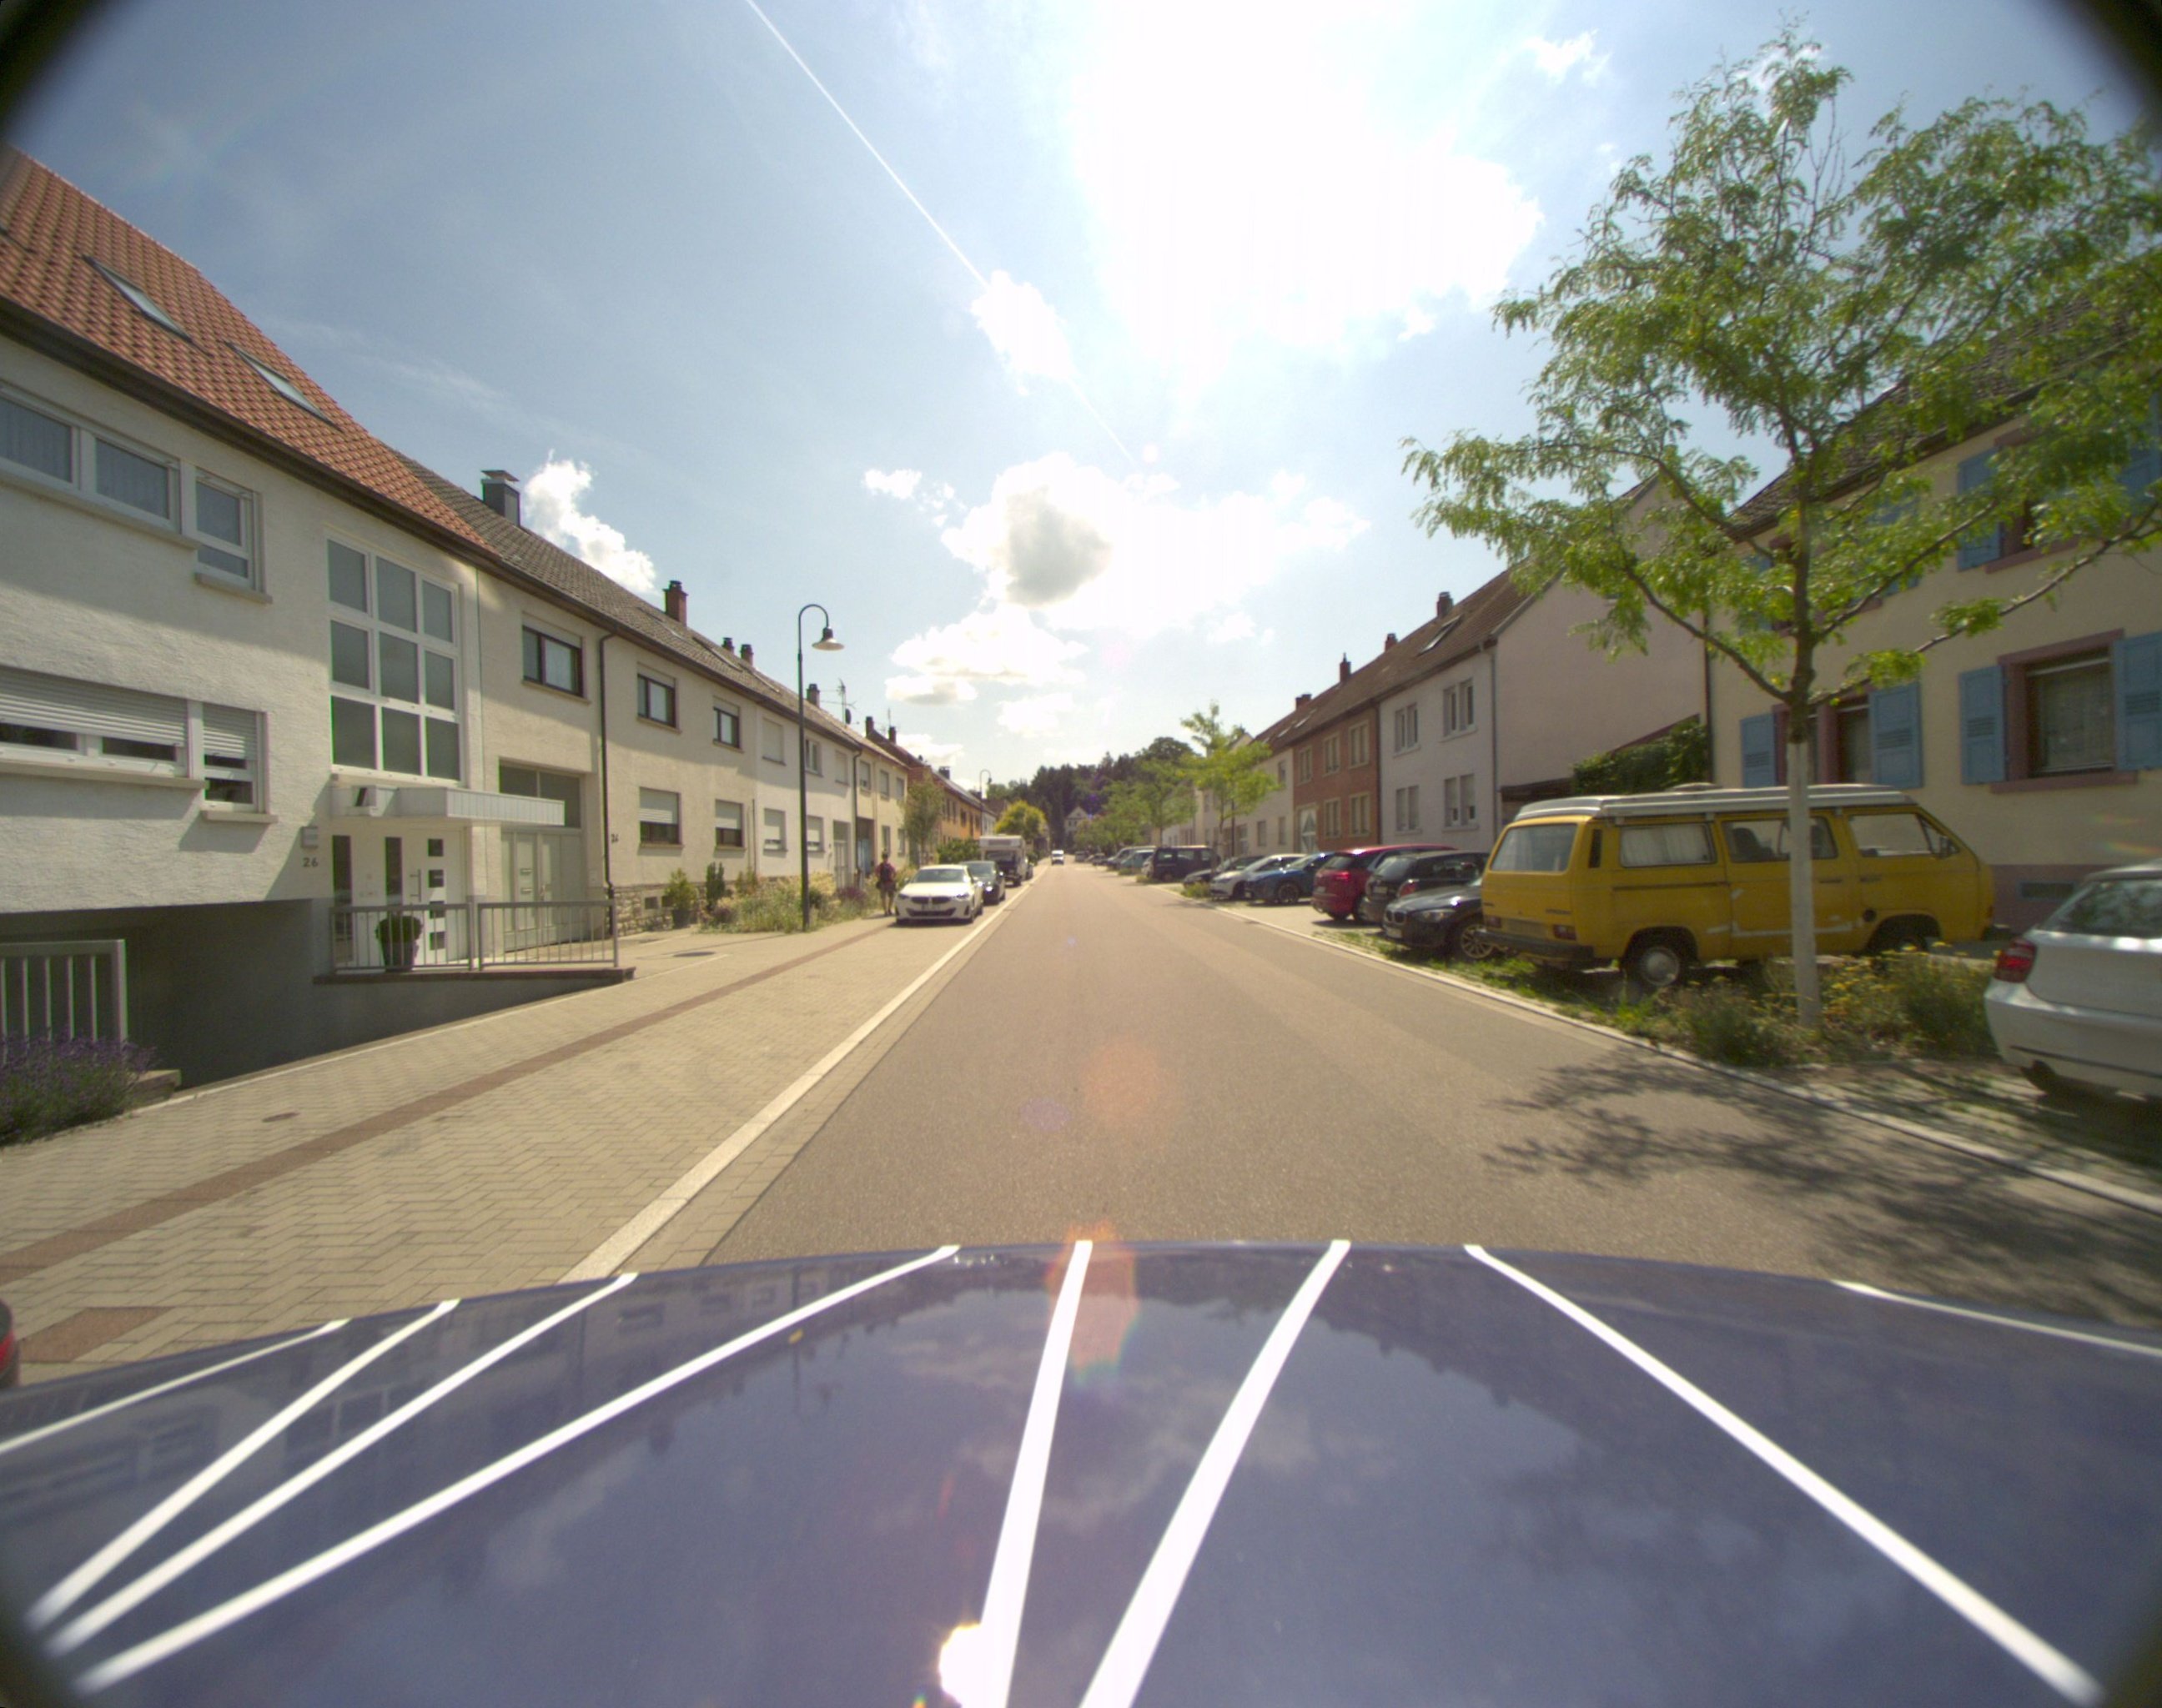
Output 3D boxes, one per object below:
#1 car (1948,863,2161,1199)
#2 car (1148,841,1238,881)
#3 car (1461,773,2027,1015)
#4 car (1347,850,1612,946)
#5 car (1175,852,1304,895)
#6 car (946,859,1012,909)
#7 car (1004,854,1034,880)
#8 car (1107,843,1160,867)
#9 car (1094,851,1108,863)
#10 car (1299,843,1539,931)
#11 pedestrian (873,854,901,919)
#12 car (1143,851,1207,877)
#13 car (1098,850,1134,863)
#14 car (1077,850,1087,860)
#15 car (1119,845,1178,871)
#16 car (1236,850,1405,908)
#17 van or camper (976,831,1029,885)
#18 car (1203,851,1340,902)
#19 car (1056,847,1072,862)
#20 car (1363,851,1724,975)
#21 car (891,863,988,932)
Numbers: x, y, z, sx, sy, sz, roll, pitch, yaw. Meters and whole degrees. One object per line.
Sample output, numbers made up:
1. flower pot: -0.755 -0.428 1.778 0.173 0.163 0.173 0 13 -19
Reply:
1. car: 6.936 0.761 3.648 4.085 1.459 1.752 -2 1 -9
2. car: 6.081 0.368 41.759 4.624 1.985 1.953 -2 1 1
3. car: 6.931 0.380 8.326 4.520 2.164 1.925 -2 1 -1
4. car: 6.969 0.724 13.529 3.802 1.451 1.754 -2 1 -4
5. car: 6.072 0.721 29.438 4.536 1.417 1.795 -2 0 -1
6. car: -3.470 0.990 26.546 1.771 1.520 4.006 -1 0 -1
7. car: -4.205 0.845 52.136 1.771 1.695 4.324 -1 0 -1
8. car: 5.416 0.109 79.278 5.181 2.275 2.156 -3 1 -3
9. car: 2.912 0.456 112.910 1.844 1.737 4.686 -3 -1 0
10. car: 7.071 0.663 16.199 4.264 1.602 1.842 -2 1 -2
11. pedestrian: -5.329 0.887 20.875 0.559 1.739 0.673 -1 1 -1
12. car: 6.017 0.626 48.982 3.926 1.480 1.772 -2 1 1
13. car: 4.635 0.335 101.055 4.599 1.508 1.901 -2 0 -1
14. car: 0.211 0.197 156.365 1.999 1.968 3.998 -1 1 -2
15. car: 5.555 0.341 62.942 4.689 1.896 1.999 -3 1 -1
16. car: 7.030 0.715 22.549 4.416 1.469 1.775 -2 1 -5
17. van or camper: -4.227 0.209 41.917 2.480 2.793 5.789 0 0 -1
18. car: 6.309 0.728 25.458 4.065 1.469 1.775 -2 1 -4
19. car: -2.883 0.113 128.248 2.490 2.306 5.598 -3 1 -2
20. car: 6.344 0.759 10.739 4.020 1.451 1.755 -2 1 -1
21. car: -3.513 1.027 19.648 1.837 1.457 4.518 -2 0 -3
